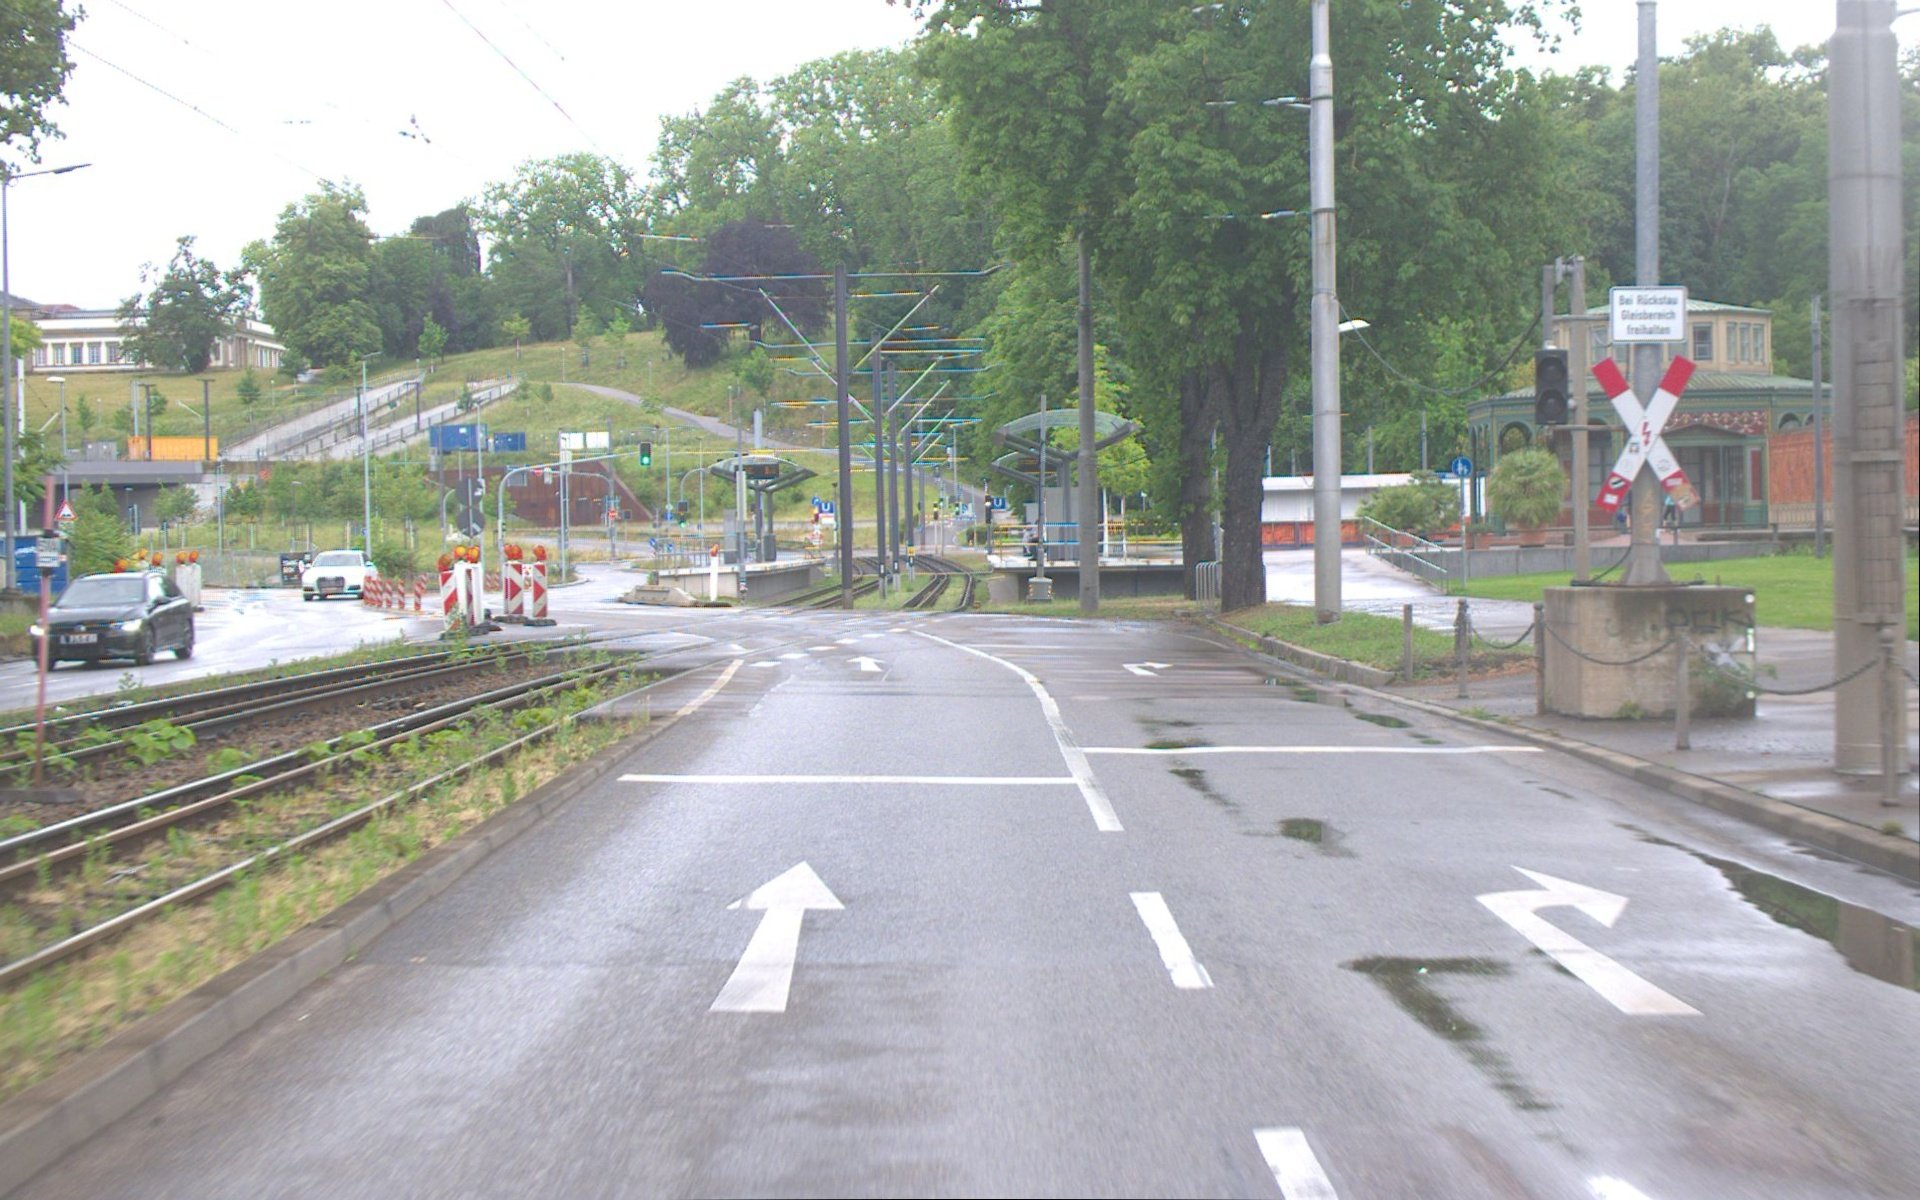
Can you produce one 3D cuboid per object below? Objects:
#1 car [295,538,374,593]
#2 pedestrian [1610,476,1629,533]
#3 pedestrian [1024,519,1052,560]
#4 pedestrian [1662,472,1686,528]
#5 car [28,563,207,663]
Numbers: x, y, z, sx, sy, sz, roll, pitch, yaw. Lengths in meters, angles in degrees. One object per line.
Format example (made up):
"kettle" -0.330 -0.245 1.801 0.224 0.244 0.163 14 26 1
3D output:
"car" -18.559 -1.046 102.104 1.708 1.493 4.721 -2 1 -4
"pedestrian" 20.021 -2.907 104.431 0.531 1.705 0.695 1 -1 12
"pedestrian" 2.175 -1.706 96.297 0.600 1.115 0.520 3 0 -15
"pedestrian" 21.493 -3.009 103.500 0.551 1.651 0.468 0 0 35
"car" -13.319 0.173 54.592 1.746 1.425 4.561 -3 1 -1
